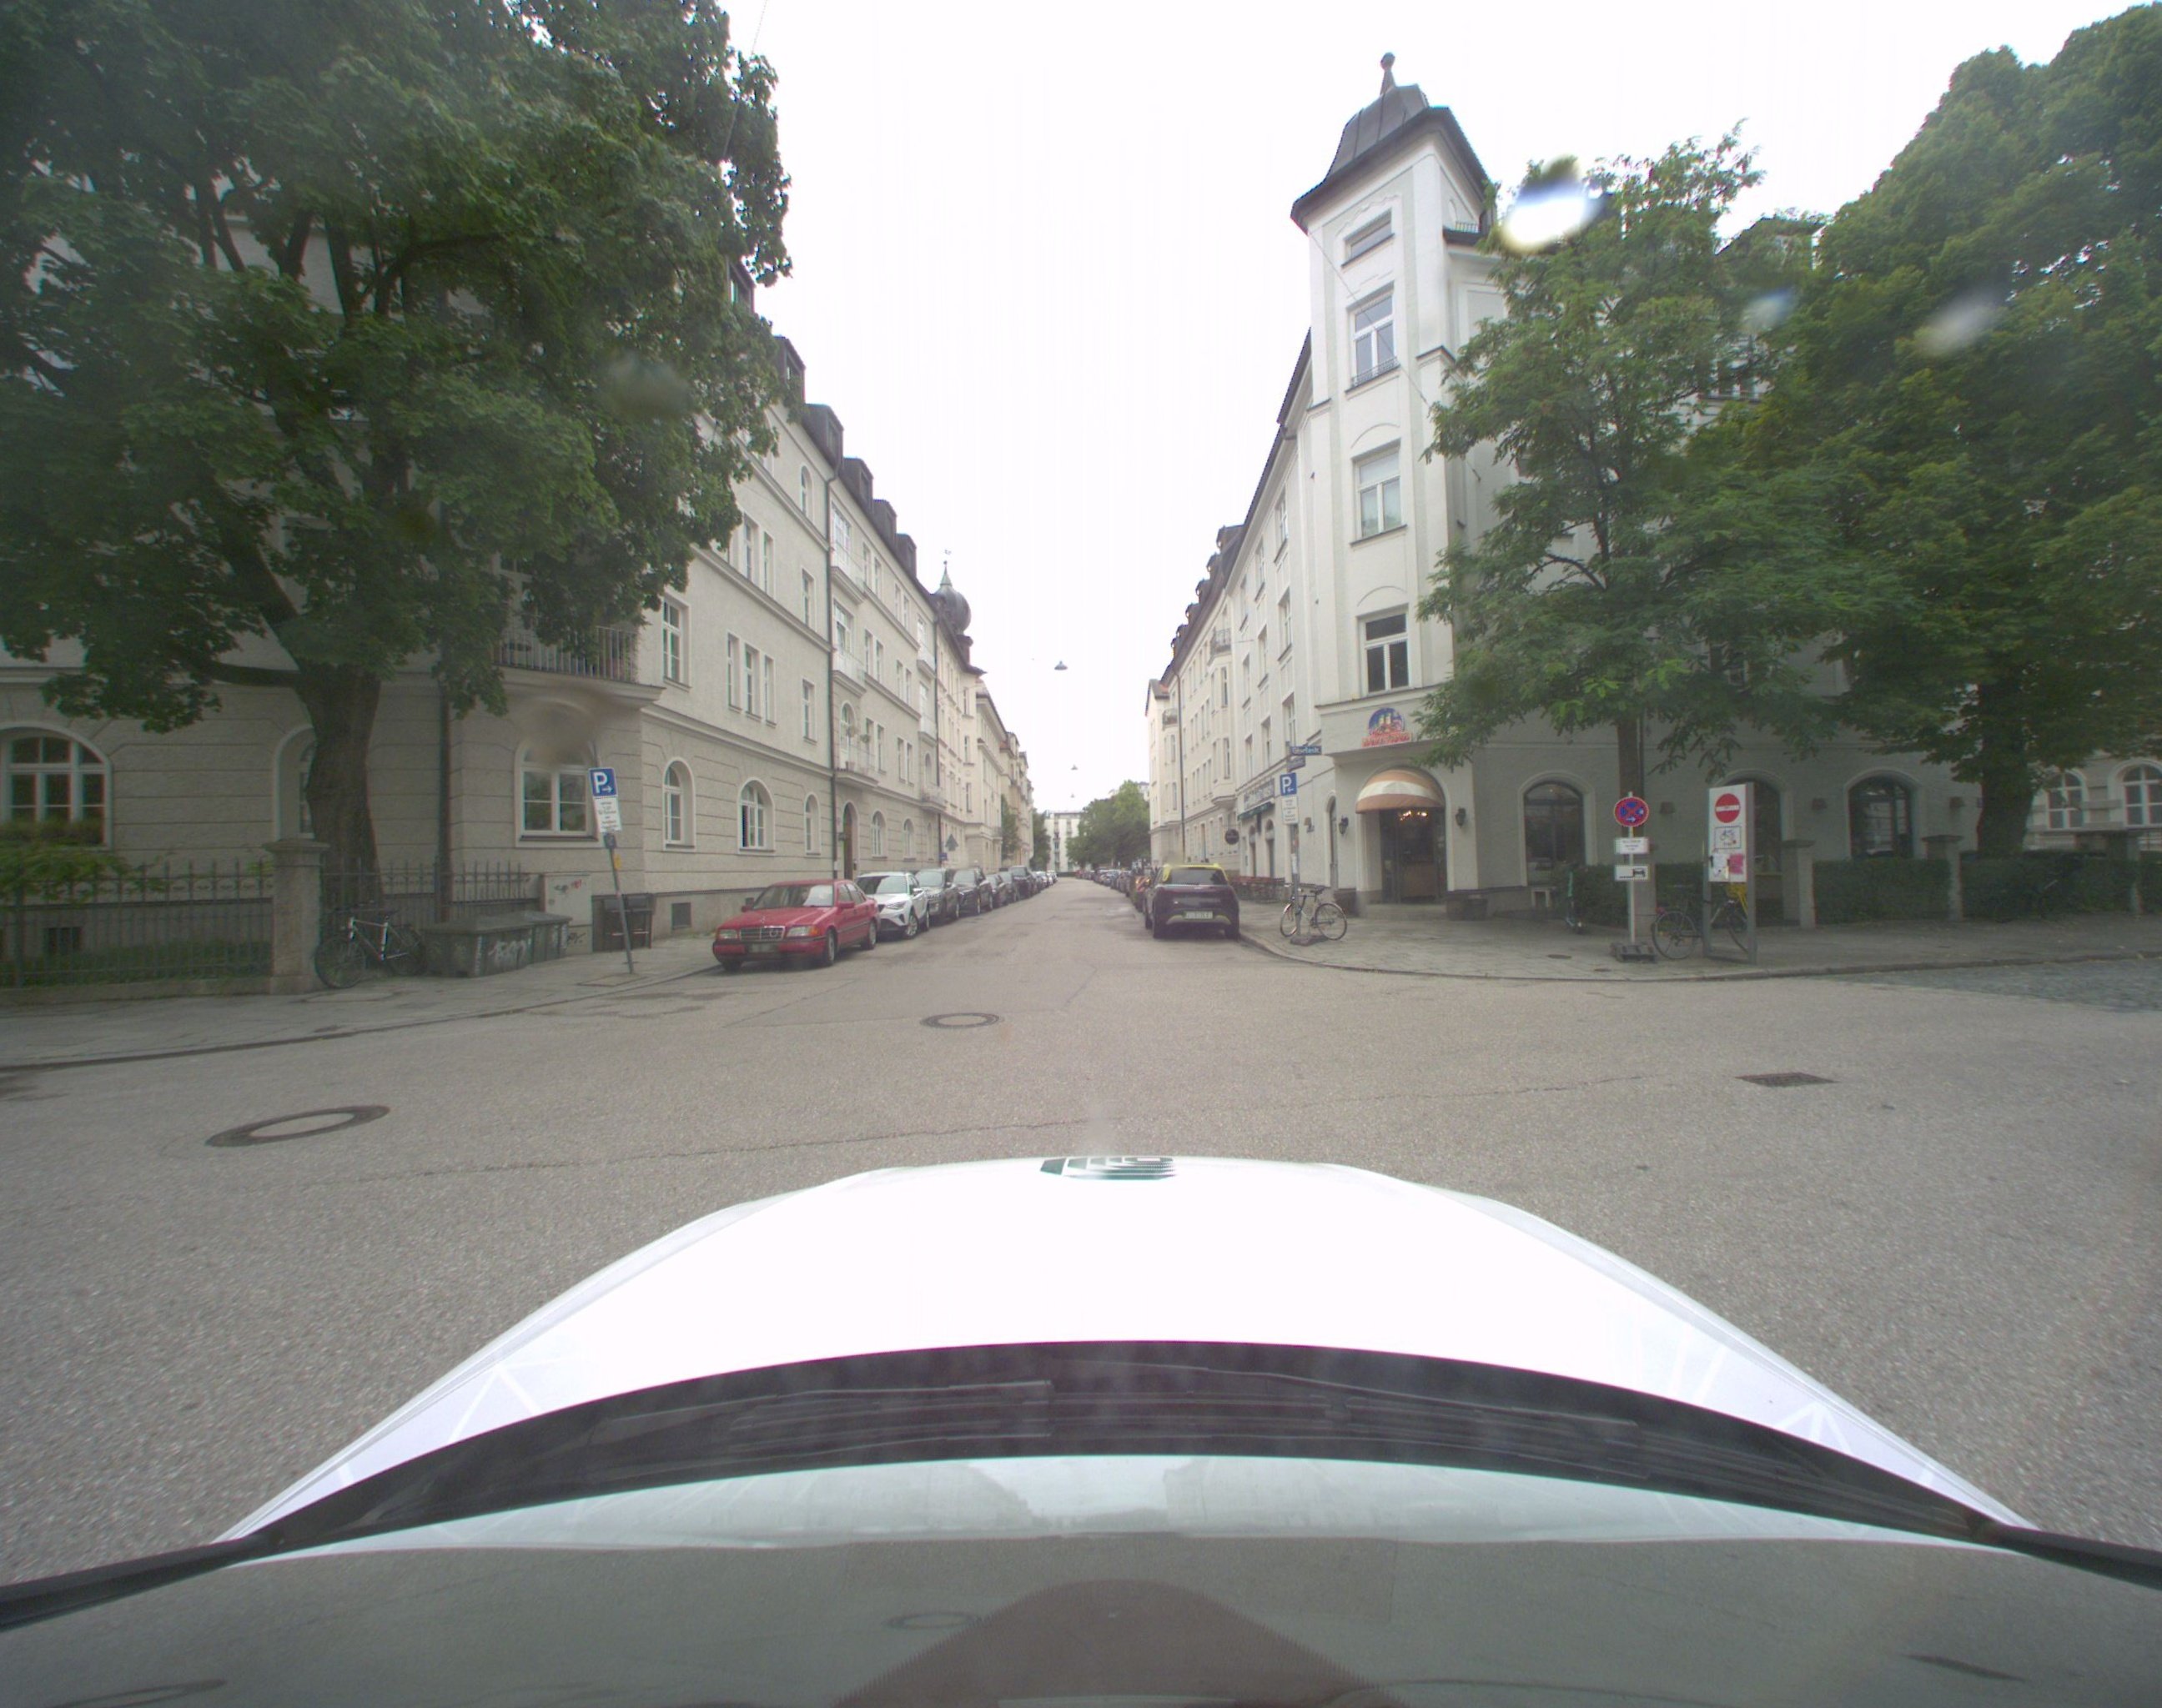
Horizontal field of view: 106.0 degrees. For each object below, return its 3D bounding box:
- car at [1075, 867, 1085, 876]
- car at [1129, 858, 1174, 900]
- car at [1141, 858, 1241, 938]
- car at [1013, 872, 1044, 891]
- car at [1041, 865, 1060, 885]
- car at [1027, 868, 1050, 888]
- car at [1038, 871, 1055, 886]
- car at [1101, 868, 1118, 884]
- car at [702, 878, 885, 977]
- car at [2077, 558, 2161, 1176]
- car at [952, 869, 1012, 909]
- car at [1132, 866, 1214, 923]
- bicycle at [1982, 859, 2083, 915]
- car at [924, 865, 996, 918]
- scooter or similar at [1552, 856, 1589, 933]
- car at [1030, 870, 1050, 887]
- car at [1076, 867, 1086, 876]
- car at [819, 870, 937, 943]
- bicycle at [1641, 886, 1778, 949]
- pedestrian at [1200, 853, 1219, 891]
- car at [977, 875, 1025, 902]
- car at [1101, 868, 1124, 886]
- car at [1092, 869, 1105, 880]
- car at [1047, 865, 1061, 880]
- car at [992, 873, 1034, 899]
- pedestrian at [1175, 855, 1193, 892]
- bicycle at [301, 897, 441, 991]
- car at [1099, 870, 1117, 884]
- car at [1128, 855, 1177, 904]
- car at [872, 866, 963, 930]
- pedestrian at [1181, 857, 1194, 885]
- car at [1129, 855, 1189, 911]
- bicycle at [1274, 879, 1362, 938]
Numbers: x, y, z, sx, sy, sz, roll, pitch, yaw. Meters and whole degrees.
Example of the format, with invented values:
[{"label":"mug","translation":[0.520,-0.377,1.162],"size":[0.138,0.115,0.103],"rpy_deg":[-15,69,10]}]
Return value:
[{"label":"car","translation":[-0.264,4.000,183.354],"size":[1.989,1.982,4.888],"rpy_deg":[-1,-1,-3]},{"label":"car","translation":[3.354,1.170,39.421],"size":[1.985,1.857,4.348],"rpy_deg":[-1,-1,3]},{"label":"car","translation":[2.429,0.943,18.936],"size":[1.813,1.636,4.289],"rpy_deg":[0,-1,1]},{"label":"car","translation":[-3.674,1.950,57.631],"size":[1.900,1.222,3.999],"rpy_deg":[-2,-1,0]},{"label":"car","translation":[-3.229,2.153,85.577],"size":[1.841,2.014,3.998],"rpy_deg":[-2,-1,-1]},{"label":"car","translation":[-3.588,2.034,69.209],"size":[1.815,1.574,3.997],"rpy_deg":[-2,-1,-2]},{"label":"car","translation":[-4.045,2.867,96.242],"size":[1.988,1.574,3.997],"rpy_deg":[-2,-1,-2]},{"label":"car","translation":[3.679,2.857,105.816],"size":[1.988,1.982,4.890],"rpy_deg":[-1,-1,-1]},{"label":"car","translation":[-4.816,1.159,14.309],"size":[1.725,1.378,4.224],"rpy_deg":[-2,-1,-1]},{"label":"car","translation":[7.545,-0.015,3.077],"size":[5.890,2.591,2.054],"rpy_deg":[-2,0,-8]},{"label":"car","translation":[-4.191,1.463,35.084],"size":[1.918,1.546,4.001],"rpy_deg":[-1,-1,2]},{"label":"car","translation":[2.575,1.113,23.911],"size":[1.969,1.498,4.637],"rpy_deg":[0,-1,1]},{"label":"bicycle","translation":[17.067,0.582,14.618],"size":[1.454,0.948,0.430],"rpy_deg":[-1,2,-6]},{"label":"car","translation":[-4.238,1.269,29.118],"size":[1.988,1.676,4.286],"rpy_deg":[-2,-1,-1]},{"label":"scooter or similar","translation":[8.767,0.695,14.613],"size":[0.423,1.279,1.286],"rpy_deg":[-1,1,25]},{"label":"car","translation":[-3.727,2.247,75.162],"size":[1.729,1.420,3.996],"rpy_deg":[-2,-1,-2]},{"label":"car","translation":[0.007,3.668,172.233],"size":[1.989,1.982,4.888],"rpy_deg":[-1,-1,-3]},{"label":"car","translation":[-4.656,1.137,19.311],"size":[1.990,1.473,4.211],"rpy_deg":[-2,-1,-4]},{"label":"bicycle","translation":[8.844,0.893,11.496],"size":[1.405,0.783,0.545],"rpy_deg":[-3,-1,9]},{"label":"pedestrian","translation":[6.513,0.905,41.269],"size":[0.775,1.851,1.023],"rpy_deg":[-2,-1,1]},{"label":"car","translation":[-3.983,1.715,41.128],"size":[1.899,1.222,4.001],"rpy_deg":[-2,-1,2]},{"label":"car","translation":[2.943,2.144,77.028],"size":[1.901,1.576,3.997],"rpy_deg":[-2,-1,-1]},{"label":"car","translation":[2.809,3.262,132.871],"size":[1.945,1.652,3.997],"rpy_deg":[-3,-1,-1]},{"label":"car","translation":[-3.765,2.642,114.081],"size":[1.841,2.014,3.998],"rpy_deg":[-2,-1,-1]},{"label":"car","translation":[-3.778,1.778,45.866],"size":[1.899,1.329,4.001],"rpy_deg":[-2,-1,2]},{"label":"pedestrian","translation":[5.284,0.981,41.821],"size":[0.775,1.851,1.023],"rpy_deg":[-2,-1,1]},{"label":"bicycle","translation":[-9.738,1.193,11.261],"size":[0.493,1.052,1.822],"rpy_deg":[-1,1,-7]},{"label":"car","translation":[2.902,2.413,87.752],"size":[1.725,1.417,3.849],"rpy_deg":[-2,-1,-1]},{"label":"car","translation":[2.994,1.054,34.727],"size":[1.813,1.923,4.184],"rpy_deg":[0,-1,1]},{"label":"car","translation":[-4.712,1.216,24.028],"size":[1.989,1.676,4.008],"rpy_deg":[-2,-1,-3]},{"label":"pedestrian","translation":[7.049,1.109,53.696],"size":[0.774,1.851,0.861],"rpy_deg":[-2,-1,8]},{"label":"car","translation":[2.712,0.991,29.188],"size":[1.813,1.871,4.289],"rpy_deg":[0,-1,1]},{"label":"bicycle","translation":[4.392,0.986,15.231],"size":[0.541,0.999,1.742],"rpy_deg":[-5,0,-23]}]
